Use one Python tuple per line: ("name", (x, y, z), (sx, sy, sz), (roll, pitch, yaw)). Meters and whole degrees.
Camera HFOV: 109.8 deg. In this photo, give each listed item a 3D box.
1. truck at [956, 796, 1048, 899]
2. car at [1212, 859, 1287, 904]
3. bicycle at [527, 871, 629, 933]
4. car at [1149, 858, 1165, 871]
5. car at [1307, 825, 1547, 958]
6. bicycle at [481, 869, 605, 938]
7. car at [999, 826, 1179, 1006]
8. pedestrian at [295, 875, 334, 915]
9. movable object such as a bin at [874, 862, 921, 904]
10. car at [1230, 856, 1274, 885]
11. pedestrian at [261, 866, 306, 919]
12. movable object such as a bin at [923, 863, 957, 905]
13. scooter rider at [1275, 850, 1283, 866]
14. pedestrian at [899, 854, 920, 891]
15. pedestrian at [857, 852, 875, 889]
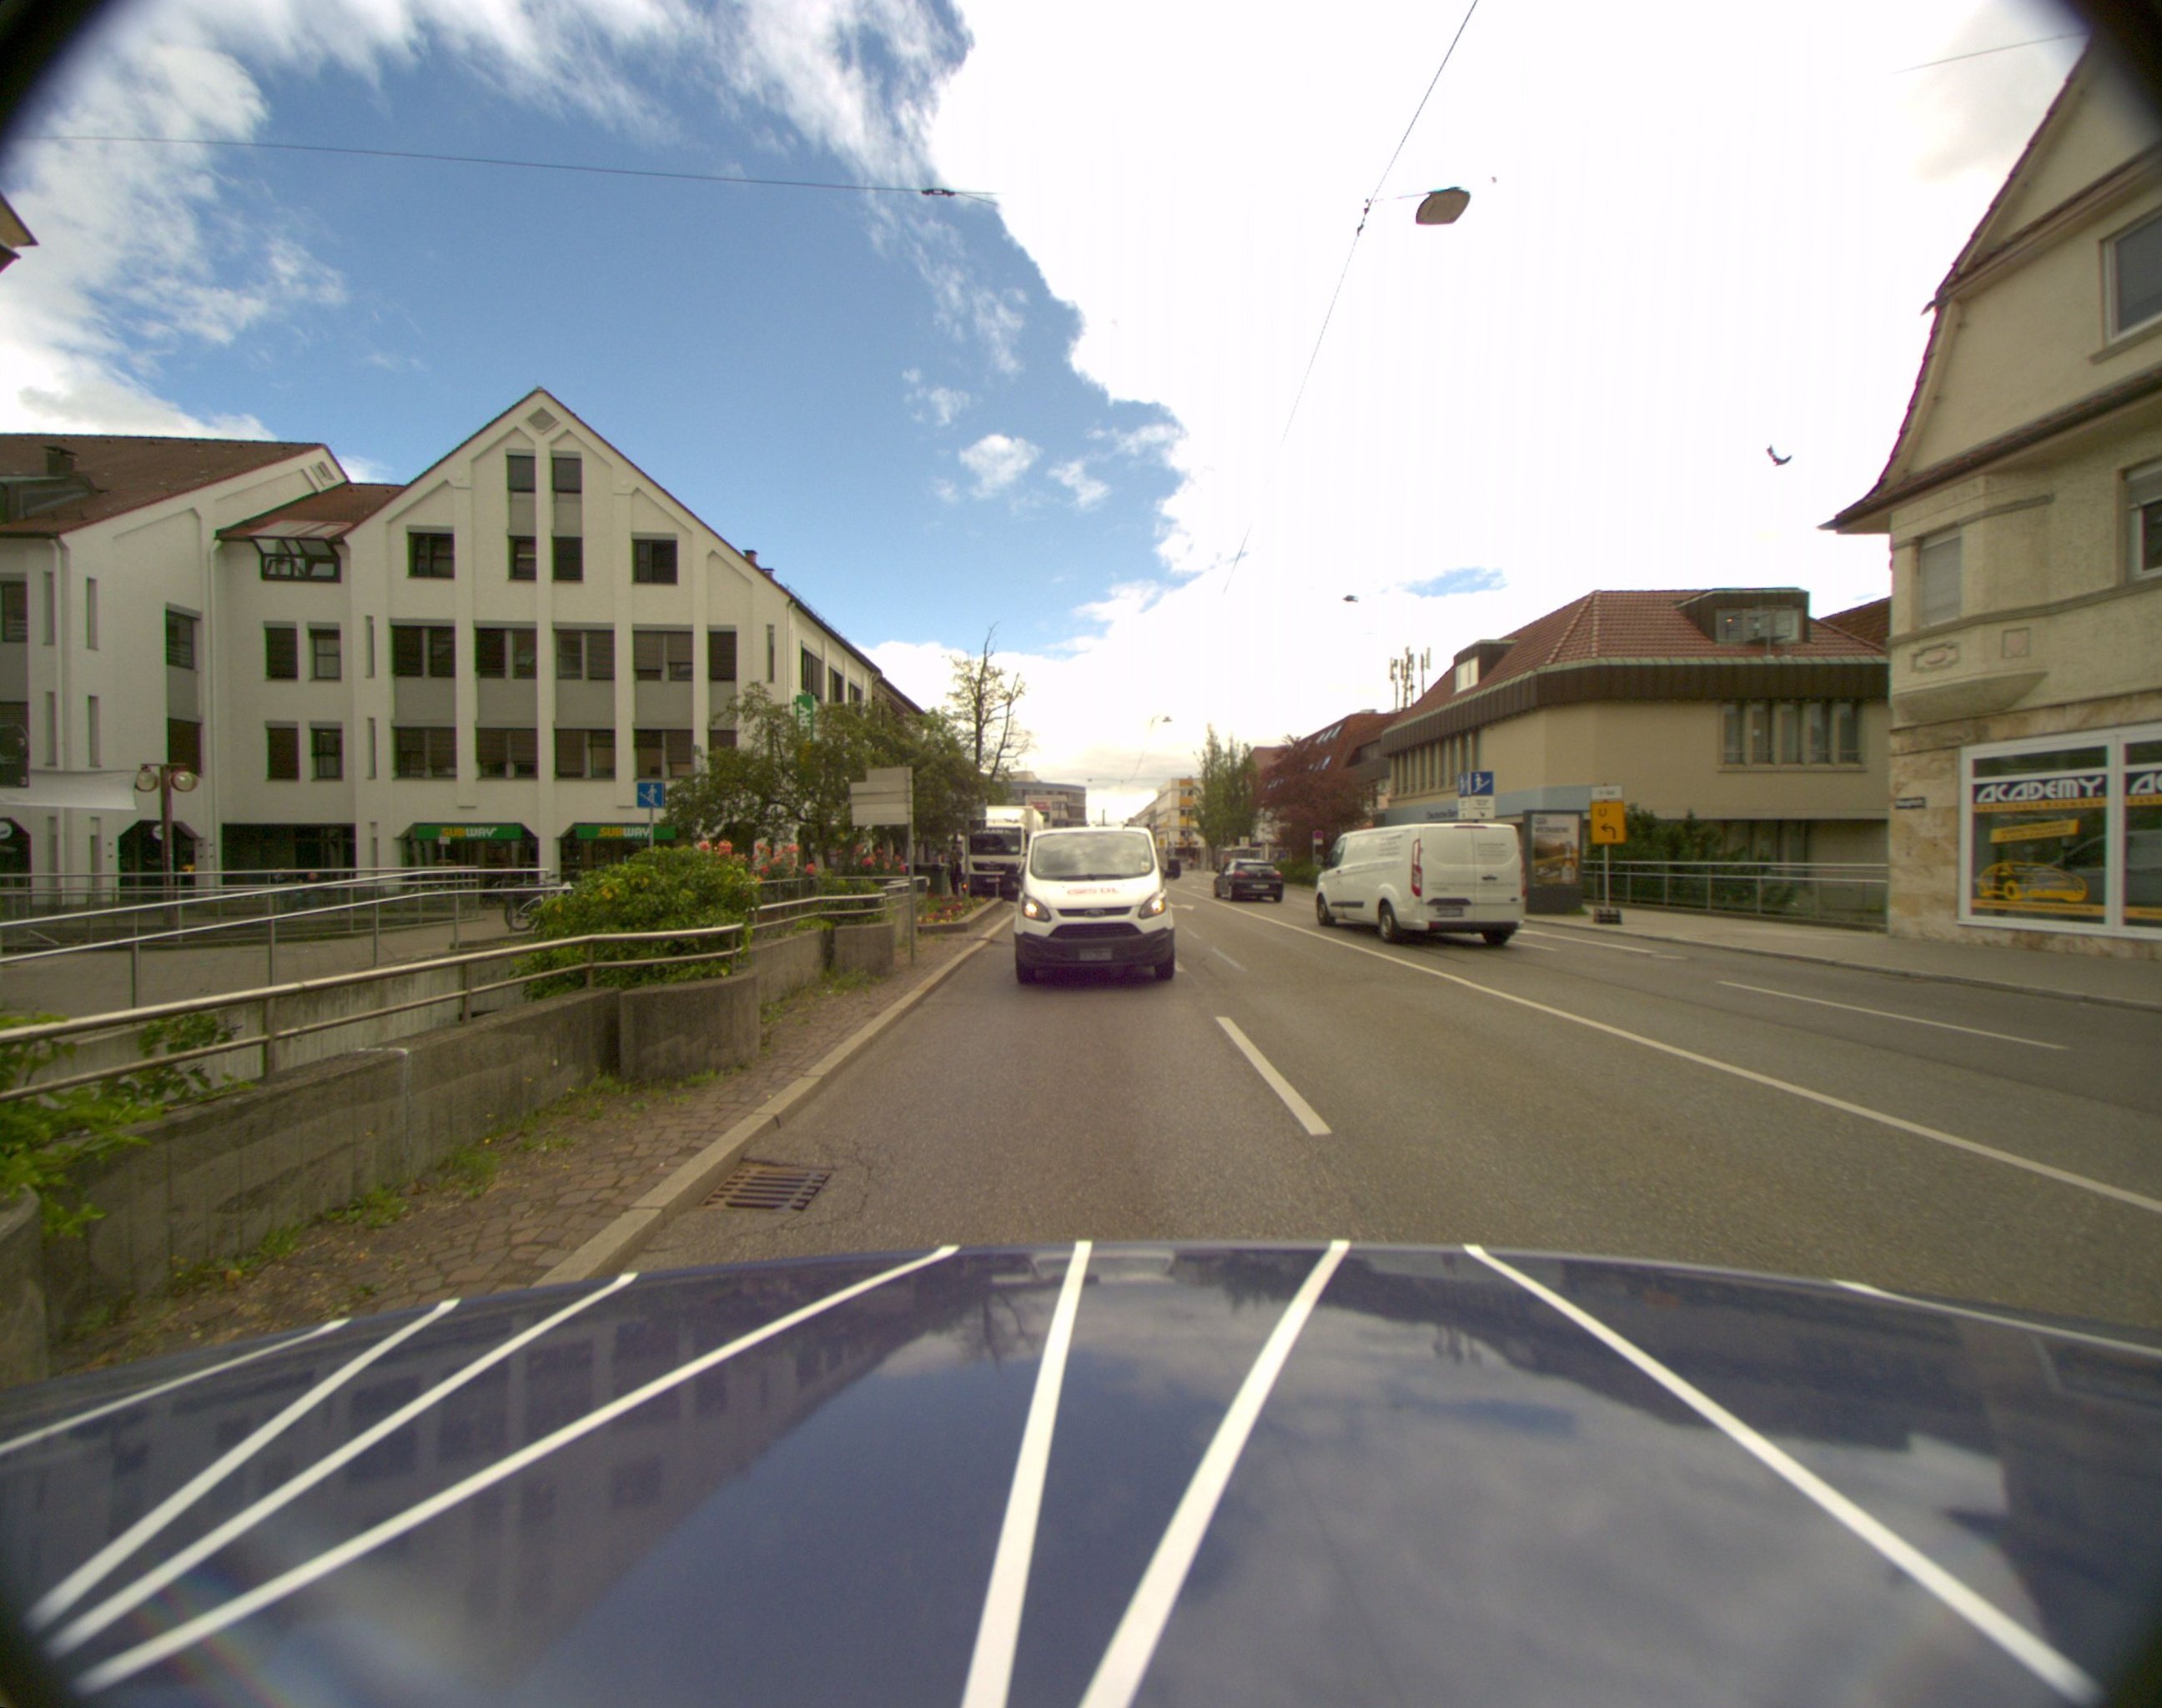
("truck", (-2.939, -0.201, 31.165), (2.695, 3.540, 9.766), (0, 0, 0))
("car", (5.668, 0.878, 26.033), (1.621, 1.420, 3.922), (0, 0, -1))
("bicycle", (-10.605, 1.002, 16.058), (1.679, 1.251, 0.669), (0, 0, -3))
("car", (9.649, 1.286, 96.976), (1.644, 1.559, 3.926), (2, 0, 0))
("car", (5.939, 0.558, 13.938), (1.966, 1.949, 5.139), (1, 0, -1))
("bicycle", (-10.700, 0.967, 15.163), (1.821, 1.319, 0.843), (0, 0, -3))
("car", (0.233, 0.716, 11.047), (1.998, 2.002, 5.000), (-1, 0, 3))
("pedestrian", (-23.118, 1.228, 22.916), (0.620, 1.193, 0.513), (0, 0, -2))
("movable object such as a bin", (-5.992, 0.942, 24.912), (1.146, 1.331, 1.376), (0, 0, 2))
("car", (9.402, 0.862, 42.041), (1.621, 1.514, 3.507), (1, 0, 0))
("pedestrian", (-22.626, 1.083, 21.565), (0.608, 1.467, 0.620), (0, 0, -2))
("movable object such as a bin", (-4.568, 0.950, 24.692), (0.883, 1.331, 1.085), (0, 0, 2))
("scooter rider", (21.955, 0.443, 84.155), (0.614, 1.702, 0.588), (-3, 0, -3))
("pedestrian", (-7.527, 0.790, 33.290), (0.747, 1.593, 0.573), (0, 1, -28))
("pedestrian", (-9.206, 0.700, 32.554), (0.574, 1.593, 0.746), (0, 0, 1))
